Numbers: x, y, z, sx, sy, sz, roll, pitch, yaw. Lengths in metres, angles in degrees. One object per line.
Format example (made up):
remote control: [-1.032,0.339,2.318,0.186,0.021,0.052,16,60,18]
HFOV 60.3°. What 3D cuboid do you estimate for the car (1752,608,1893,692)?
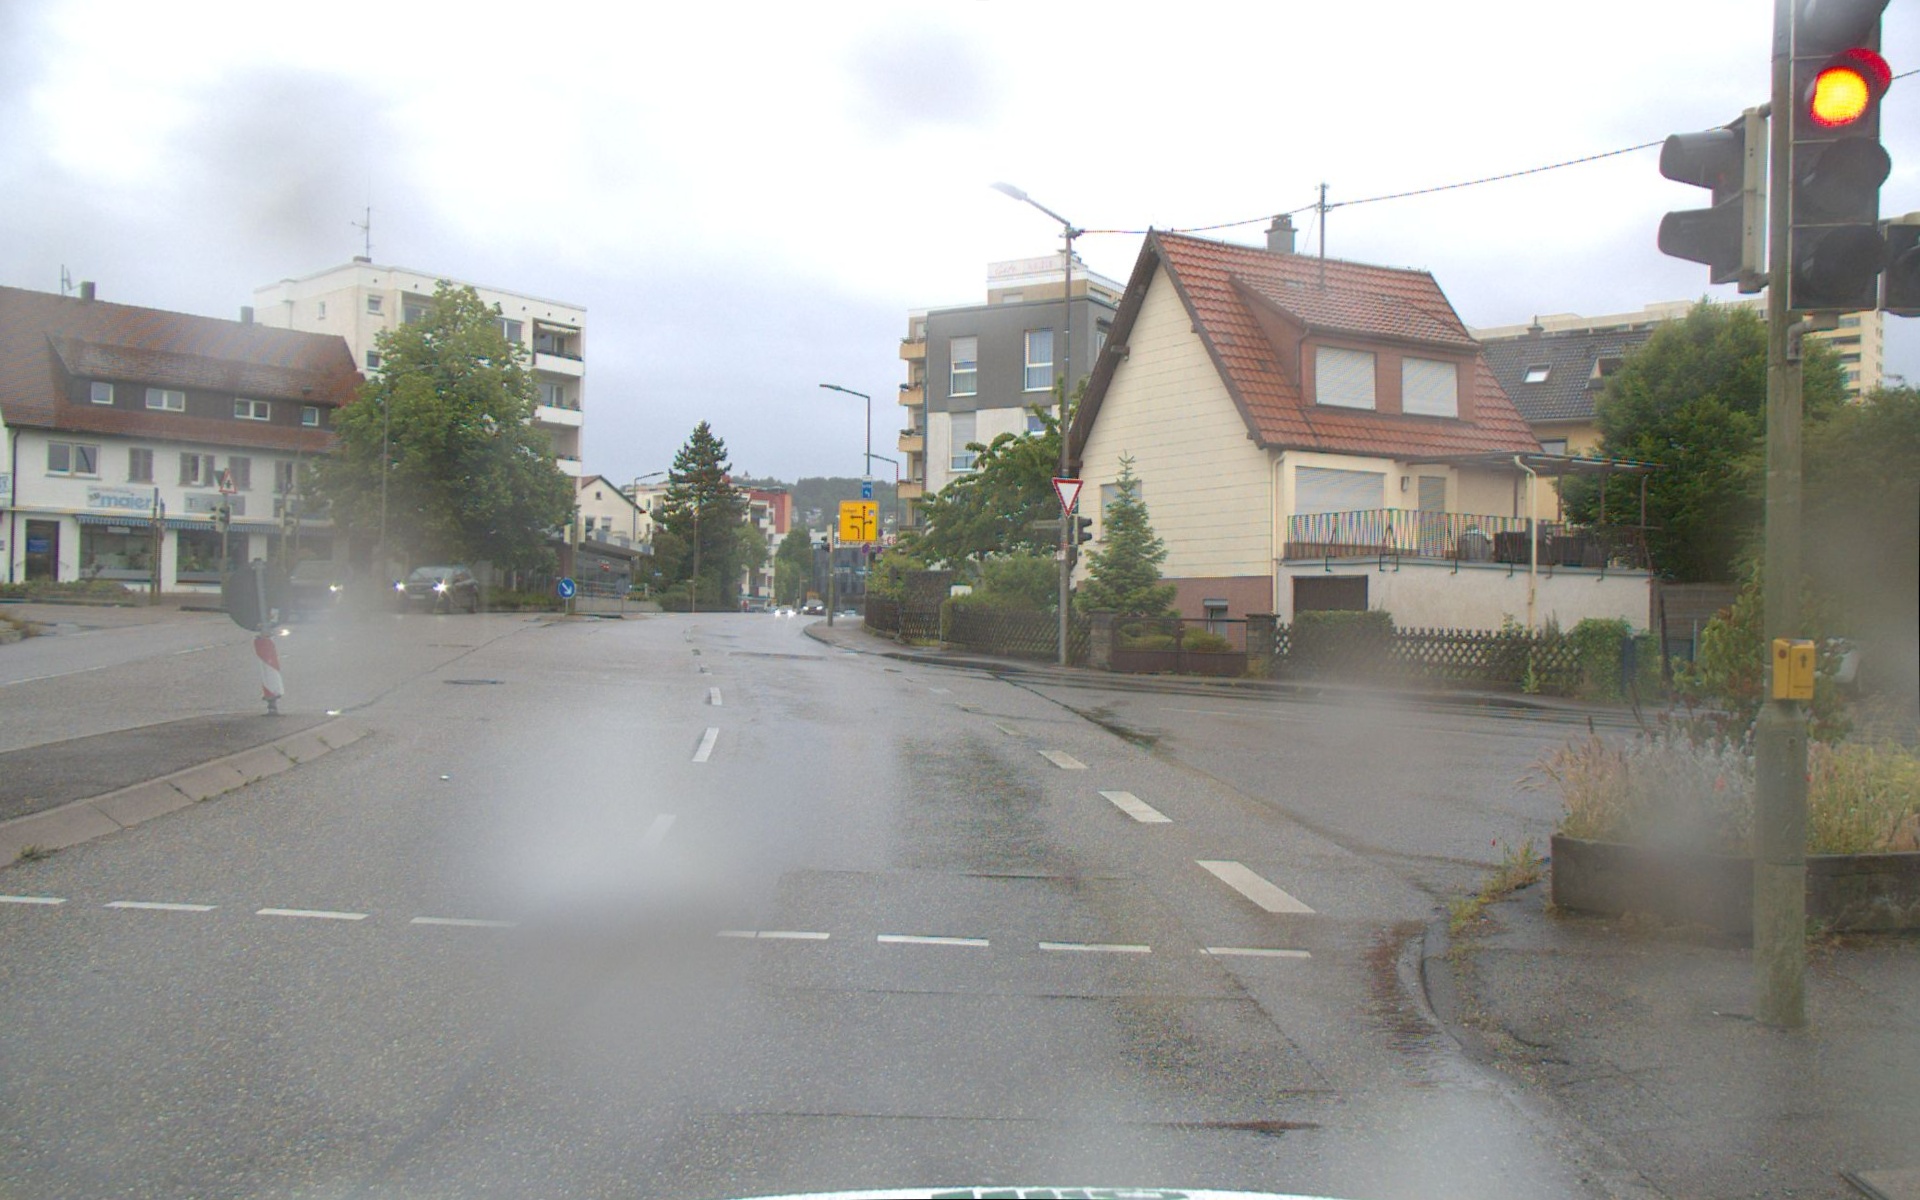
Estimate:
car: [15.618,0.863,29.865,1.780,1.386,3.986,1,0,35]

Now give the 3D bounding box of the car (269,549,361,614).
car: [-16.146,-0.440,41.553,1.937,1.538,3.978,1,0,-19]

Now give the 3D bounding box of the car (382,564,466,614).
car: [-18.338,-0.359,56.763,1.842,1.625,4.180,1,0,-5]

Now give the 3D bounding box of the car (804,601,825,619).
car: [-14.657,1.014,166.314,1.956,1.768,5.173,1,0,-7]

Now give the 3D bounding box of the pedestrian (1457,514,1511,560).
pedestrian: [11.148,-1.336,35.167,0.902,0.898,0.632,1,-2,-20]
